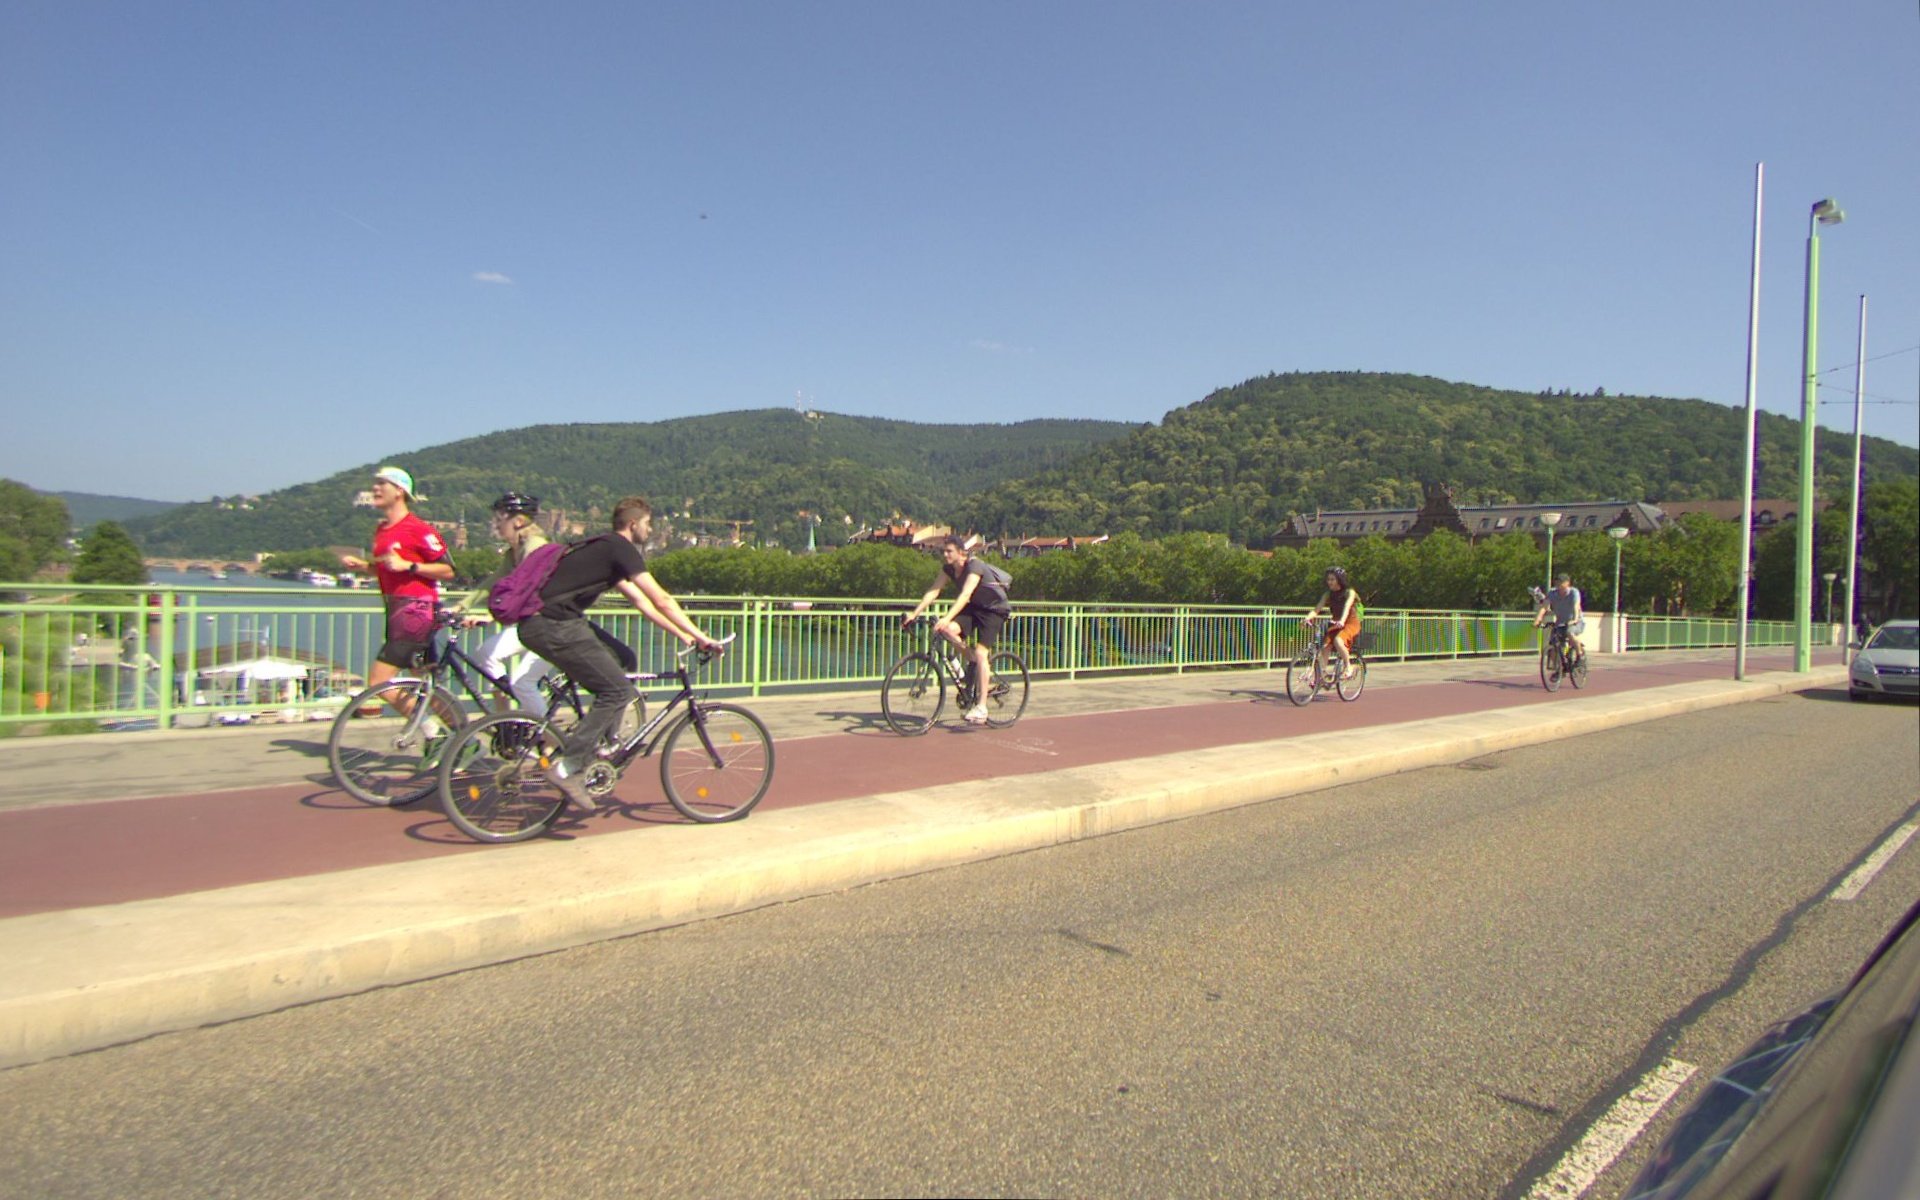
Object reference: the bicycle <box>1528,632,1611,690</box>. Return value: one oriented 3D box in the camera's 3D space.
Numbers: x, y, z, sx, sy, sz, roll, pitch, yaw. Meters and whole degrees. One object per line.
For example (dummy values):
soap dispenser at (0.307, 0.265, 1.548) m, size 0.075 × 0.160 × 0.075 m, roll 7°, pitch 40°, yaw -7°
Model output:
bicycle at (9.426, 0.923, 15.627) m, size 1.835 × 0.775 × 0.594 m, roll 0°, pitch 2°, yaw -43°

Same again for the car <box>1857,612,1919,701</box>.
car at (17.757, 0.972, 18.345) m, size 4.250 × 1.484 × 1.709 m, roll 1°, pitch 0°, yaw -41°

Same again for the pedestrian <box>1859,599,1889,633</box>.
pedestrian at (47.132, 0.820, 52.182) m, size 1.063 × 1.683 × 0.949 m, roll 1°, pitch 2°, yaw -41°

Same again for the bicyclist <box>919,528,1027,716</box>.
bicyclist at (0.116, 0.174, 8.925) m, size 0.690 × 1.578 × 0.587 m, roll 1°, pitch 2°, yaw -42°

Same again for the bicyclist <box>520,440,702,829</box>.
bicyclist at (-1.761, 0.152, 5.101) m, size 0.660 × 1.791 × 0.587 m, roll 1°, pitch 1°, yaw -40°

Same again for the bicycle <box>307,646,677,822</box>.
bicycle at (-2.631, 0.700, 5.845) m, size 1.835 × 0.775 × 0.594 m, roll 0°, pitch 2°, yaw -43°

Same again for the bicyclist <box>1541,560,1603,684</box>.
bicyclist at (9.452, 0.324, 15.625) m, size 0.690 × 1.842 × 0.587 m, roll 1°, pitch 2°, yaw -42°

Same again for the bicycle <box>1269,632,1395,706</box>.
bicycle at (4.569, 0.810, 12.369) m, size 1.833 × 0.775 × 0.595 m, roll 1°, pitch 2°, yaw -40°

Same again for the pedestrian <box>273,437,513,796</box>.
pedestrian at (-3.444, 0.077, 6.155) m, size 1.107 × 1.948 × 0.812 m, roll 1°, pitch 2°, yaw -41°

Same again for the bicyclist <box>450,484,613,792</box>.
bicyclist at (-2.512, 0.194, 5.930) m, size 0.690 × 1.671 × 0.587 m, roll 1°, pitch 2°, yaw -42°

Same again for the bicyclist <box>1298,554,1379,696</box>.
bicyclist at (4.638, 0.284, 12.397) m, size 0.689 × 1.671 × 0.606 m, roll 1°, pitch 2°, yaw -40°

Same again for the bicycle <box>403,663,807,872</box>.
bicycle at (-1.733, 0.768, 5.142) m, size 1.833 × 0.775 × 0.595 m, roll 1°, pitch 2°, yaw -40°

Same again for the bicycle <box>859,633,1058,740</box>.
bicycle at (0.026, 0.717, 8.870) m, size 1.800 × 0.775 × 0.594 m, roll 0°, pitch 2°, yaw -43°
